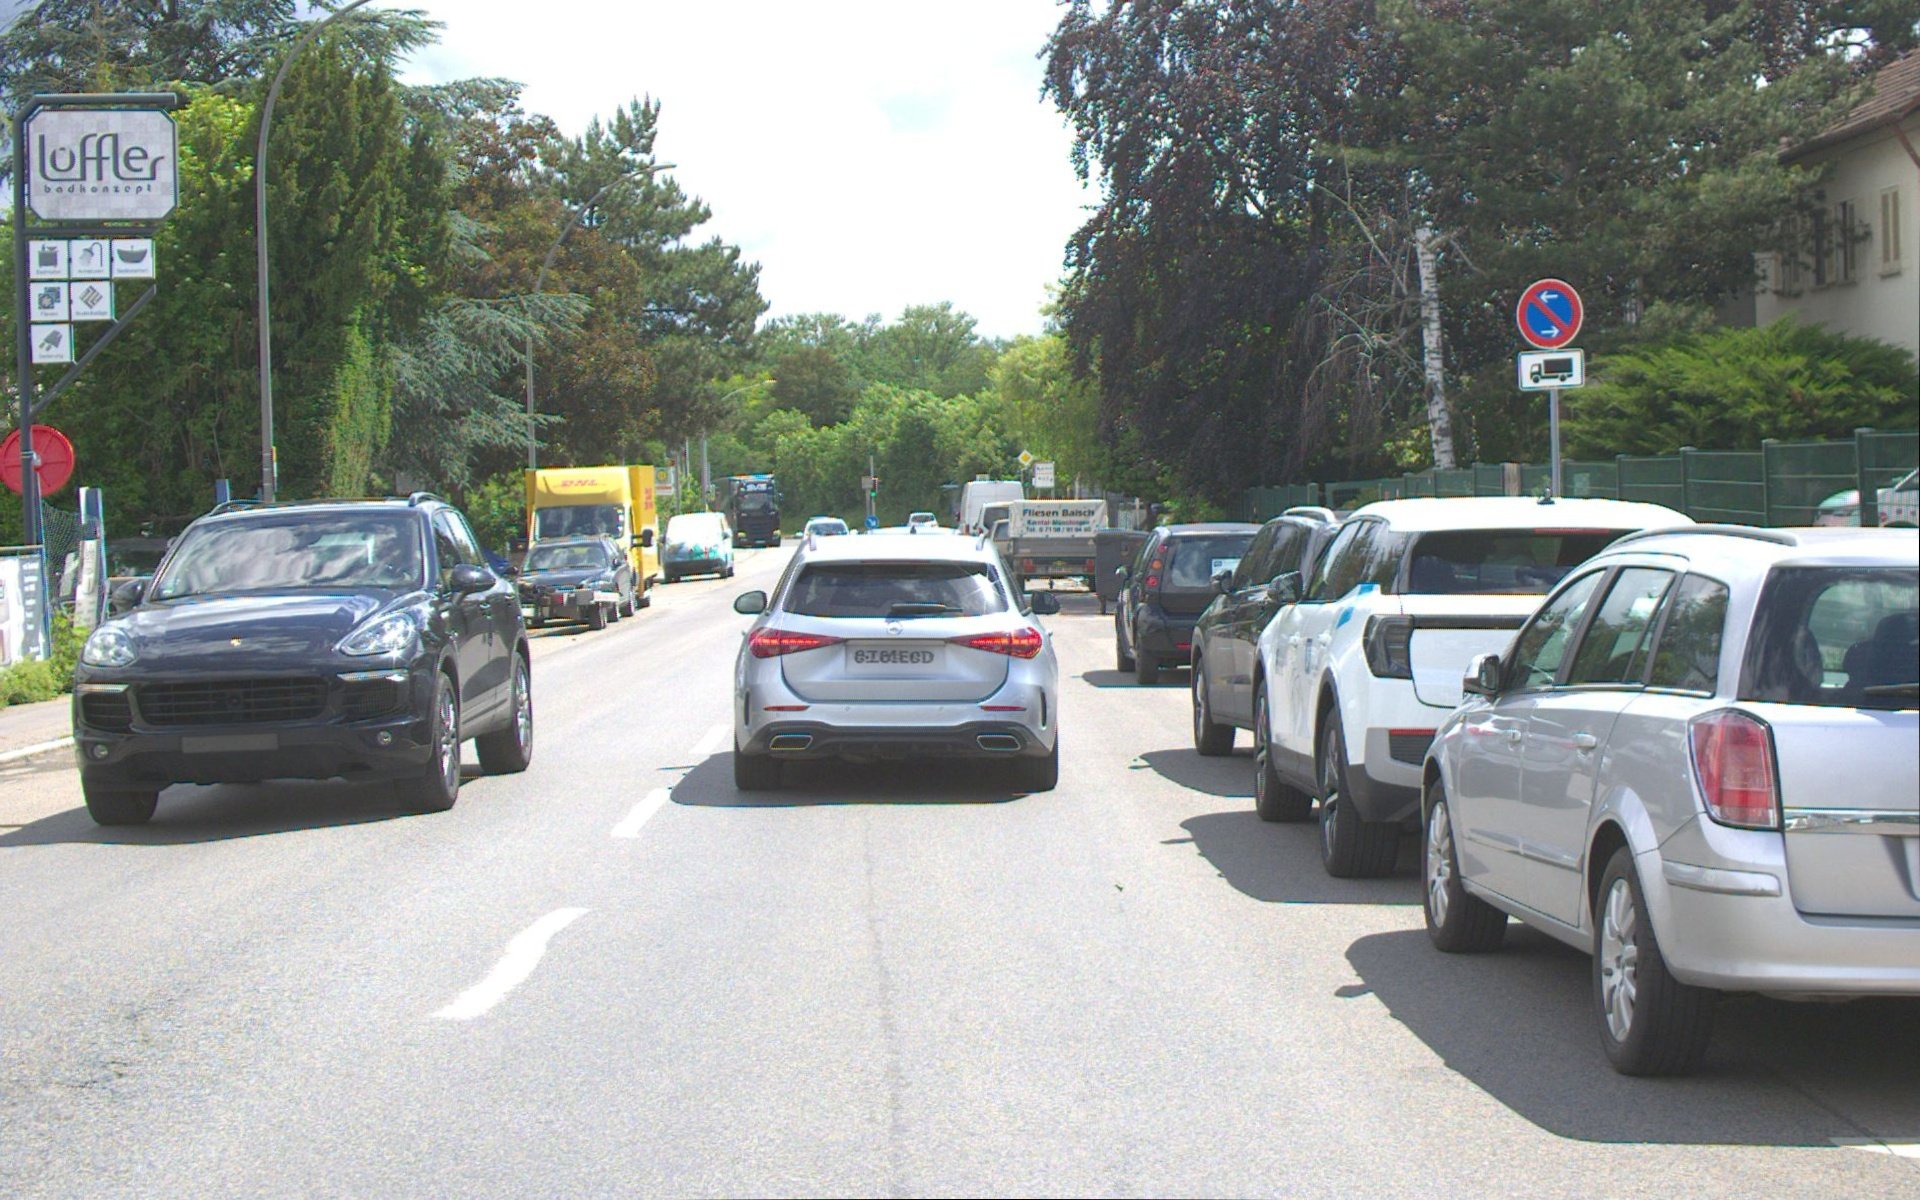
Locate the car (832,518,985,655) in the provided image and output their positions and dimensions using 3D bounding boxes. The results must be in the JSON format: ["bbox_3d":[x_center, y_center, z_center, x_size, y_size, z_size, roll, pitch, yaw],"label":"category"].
[{"bbox_3d":[-0.680,-0.207,42.448,1.755,1.552,4.001,-1,2,-2],"label":"car"}]

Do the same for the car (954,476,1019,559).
[{"bbox_3d":[0.803,-2.531,106.665,1.784,2.510,4.317,-1,1,-3],"label":"car"}]

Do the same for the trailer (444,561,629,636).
[{"bbox_3d":[-6.281,-0.058,51.625,2.228,0.921,5.949,-1,2,-2],"label":"trailer"}]

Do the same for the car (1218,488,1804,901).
[{"bbox_3d":[2.347,0.310,15.843,1.791,1.546,4.574,-3,2,-1],"label":"car"}]

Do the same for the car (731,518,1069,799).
[{"bbox_3d":[-0.414,0.283,20.438,1.784,1.479,4.317,-1,1,-3],"label":"car"}]

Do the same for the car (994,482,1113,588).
[{"bbox_3d":[1.827,-1.327,69.099,2.144,1.977,5.261,-2,1,0],"label":"car"}]

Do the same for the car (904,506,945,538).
[{"bbox_3d":[-1.825,-3.971,175.065,1.755,1.552,4.001,-1,2,-5],"label":"car"}]

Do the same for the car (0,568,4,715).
[{"bbox_3d":[-11.756,0.457,33.581,4.279,1.480,1.991,-2,-2,-2],"label":"car"}]

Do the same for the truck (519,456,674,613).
[{"bbox_3d":[-6.966,-1.307,66.664,2.075,2.804,7.078,-3,2,0],"label":"truck"}]

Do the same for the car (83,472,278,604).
[{"bbox_3d":[-10.621,-0.870,47.096,1.993,1.651,4.001,-2,2,-5],"label":"car"}]

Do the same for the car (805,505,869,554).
[{"bbox_3d":[-3.989,-2.307,111.901,1.934,1.487,4.364,-3,2,-1],"label":"car"}]

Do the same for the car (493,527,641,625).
[{"bbox_3d":[-6.620,-0.437,58.386,2.075,1.472,4.457,-3,2,-2],"label":"car"}]

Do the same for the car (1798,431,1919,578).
[{"bbox_3d":[14.333,-1.425,47.398,5.017,1.922,2.000,-3,1,3],"label":"car"}]

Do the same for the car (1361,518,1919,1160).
[{"bbox_3d":[2.508,0.521,10.445,1.791,1.445,4.364,-3,2,-3],"label":"car"}]

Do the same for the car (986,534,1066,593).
[{"bbox_3d":[1.697,-0.944,89.267,1.784,1.479,4.317,-1,1,-3],"label":"car"}]

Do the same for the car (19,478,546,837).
[{"bbox_3d":[-3.705,0.227,19.684,1.993,1.727,4.548,-3,2,1],"label":"car"}]

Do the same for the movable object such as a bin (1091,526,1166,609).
[{"bbox_3d":[2.619,-0.512,53.596,1.084,1.266,1.380,0,2,0],"label":"movable object such as a bin"}]

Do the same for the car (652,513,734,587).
[{"bbox_3d":[-7.401,-1.425,95.559,1.934,1.912,4.364,-3,2,-1],"label":"car"}]

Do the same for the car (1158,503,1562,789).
[{"bbox_3d":[2.368,0.212,21.331,1.689,1.546,4.086,-2,1,-4],"label":"car"}]

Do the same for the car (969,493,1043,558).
[{"bbox_3d":[1.244,-2.031,94.460,1.784,1.709,4.317,-1,1,-3],"label":"car"}]

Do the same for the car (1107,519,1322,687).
[{"bbox_3d":[2.363,-0.021,32.707,1.689,1.445,3.849,-2,1,0],"label":"car"}]

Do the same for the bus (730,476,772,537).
[{"bbox_3d":[-11.772,-5.244,193.379,1.993,3.352,6.984,0,2,-6],"label":"bus"}]
